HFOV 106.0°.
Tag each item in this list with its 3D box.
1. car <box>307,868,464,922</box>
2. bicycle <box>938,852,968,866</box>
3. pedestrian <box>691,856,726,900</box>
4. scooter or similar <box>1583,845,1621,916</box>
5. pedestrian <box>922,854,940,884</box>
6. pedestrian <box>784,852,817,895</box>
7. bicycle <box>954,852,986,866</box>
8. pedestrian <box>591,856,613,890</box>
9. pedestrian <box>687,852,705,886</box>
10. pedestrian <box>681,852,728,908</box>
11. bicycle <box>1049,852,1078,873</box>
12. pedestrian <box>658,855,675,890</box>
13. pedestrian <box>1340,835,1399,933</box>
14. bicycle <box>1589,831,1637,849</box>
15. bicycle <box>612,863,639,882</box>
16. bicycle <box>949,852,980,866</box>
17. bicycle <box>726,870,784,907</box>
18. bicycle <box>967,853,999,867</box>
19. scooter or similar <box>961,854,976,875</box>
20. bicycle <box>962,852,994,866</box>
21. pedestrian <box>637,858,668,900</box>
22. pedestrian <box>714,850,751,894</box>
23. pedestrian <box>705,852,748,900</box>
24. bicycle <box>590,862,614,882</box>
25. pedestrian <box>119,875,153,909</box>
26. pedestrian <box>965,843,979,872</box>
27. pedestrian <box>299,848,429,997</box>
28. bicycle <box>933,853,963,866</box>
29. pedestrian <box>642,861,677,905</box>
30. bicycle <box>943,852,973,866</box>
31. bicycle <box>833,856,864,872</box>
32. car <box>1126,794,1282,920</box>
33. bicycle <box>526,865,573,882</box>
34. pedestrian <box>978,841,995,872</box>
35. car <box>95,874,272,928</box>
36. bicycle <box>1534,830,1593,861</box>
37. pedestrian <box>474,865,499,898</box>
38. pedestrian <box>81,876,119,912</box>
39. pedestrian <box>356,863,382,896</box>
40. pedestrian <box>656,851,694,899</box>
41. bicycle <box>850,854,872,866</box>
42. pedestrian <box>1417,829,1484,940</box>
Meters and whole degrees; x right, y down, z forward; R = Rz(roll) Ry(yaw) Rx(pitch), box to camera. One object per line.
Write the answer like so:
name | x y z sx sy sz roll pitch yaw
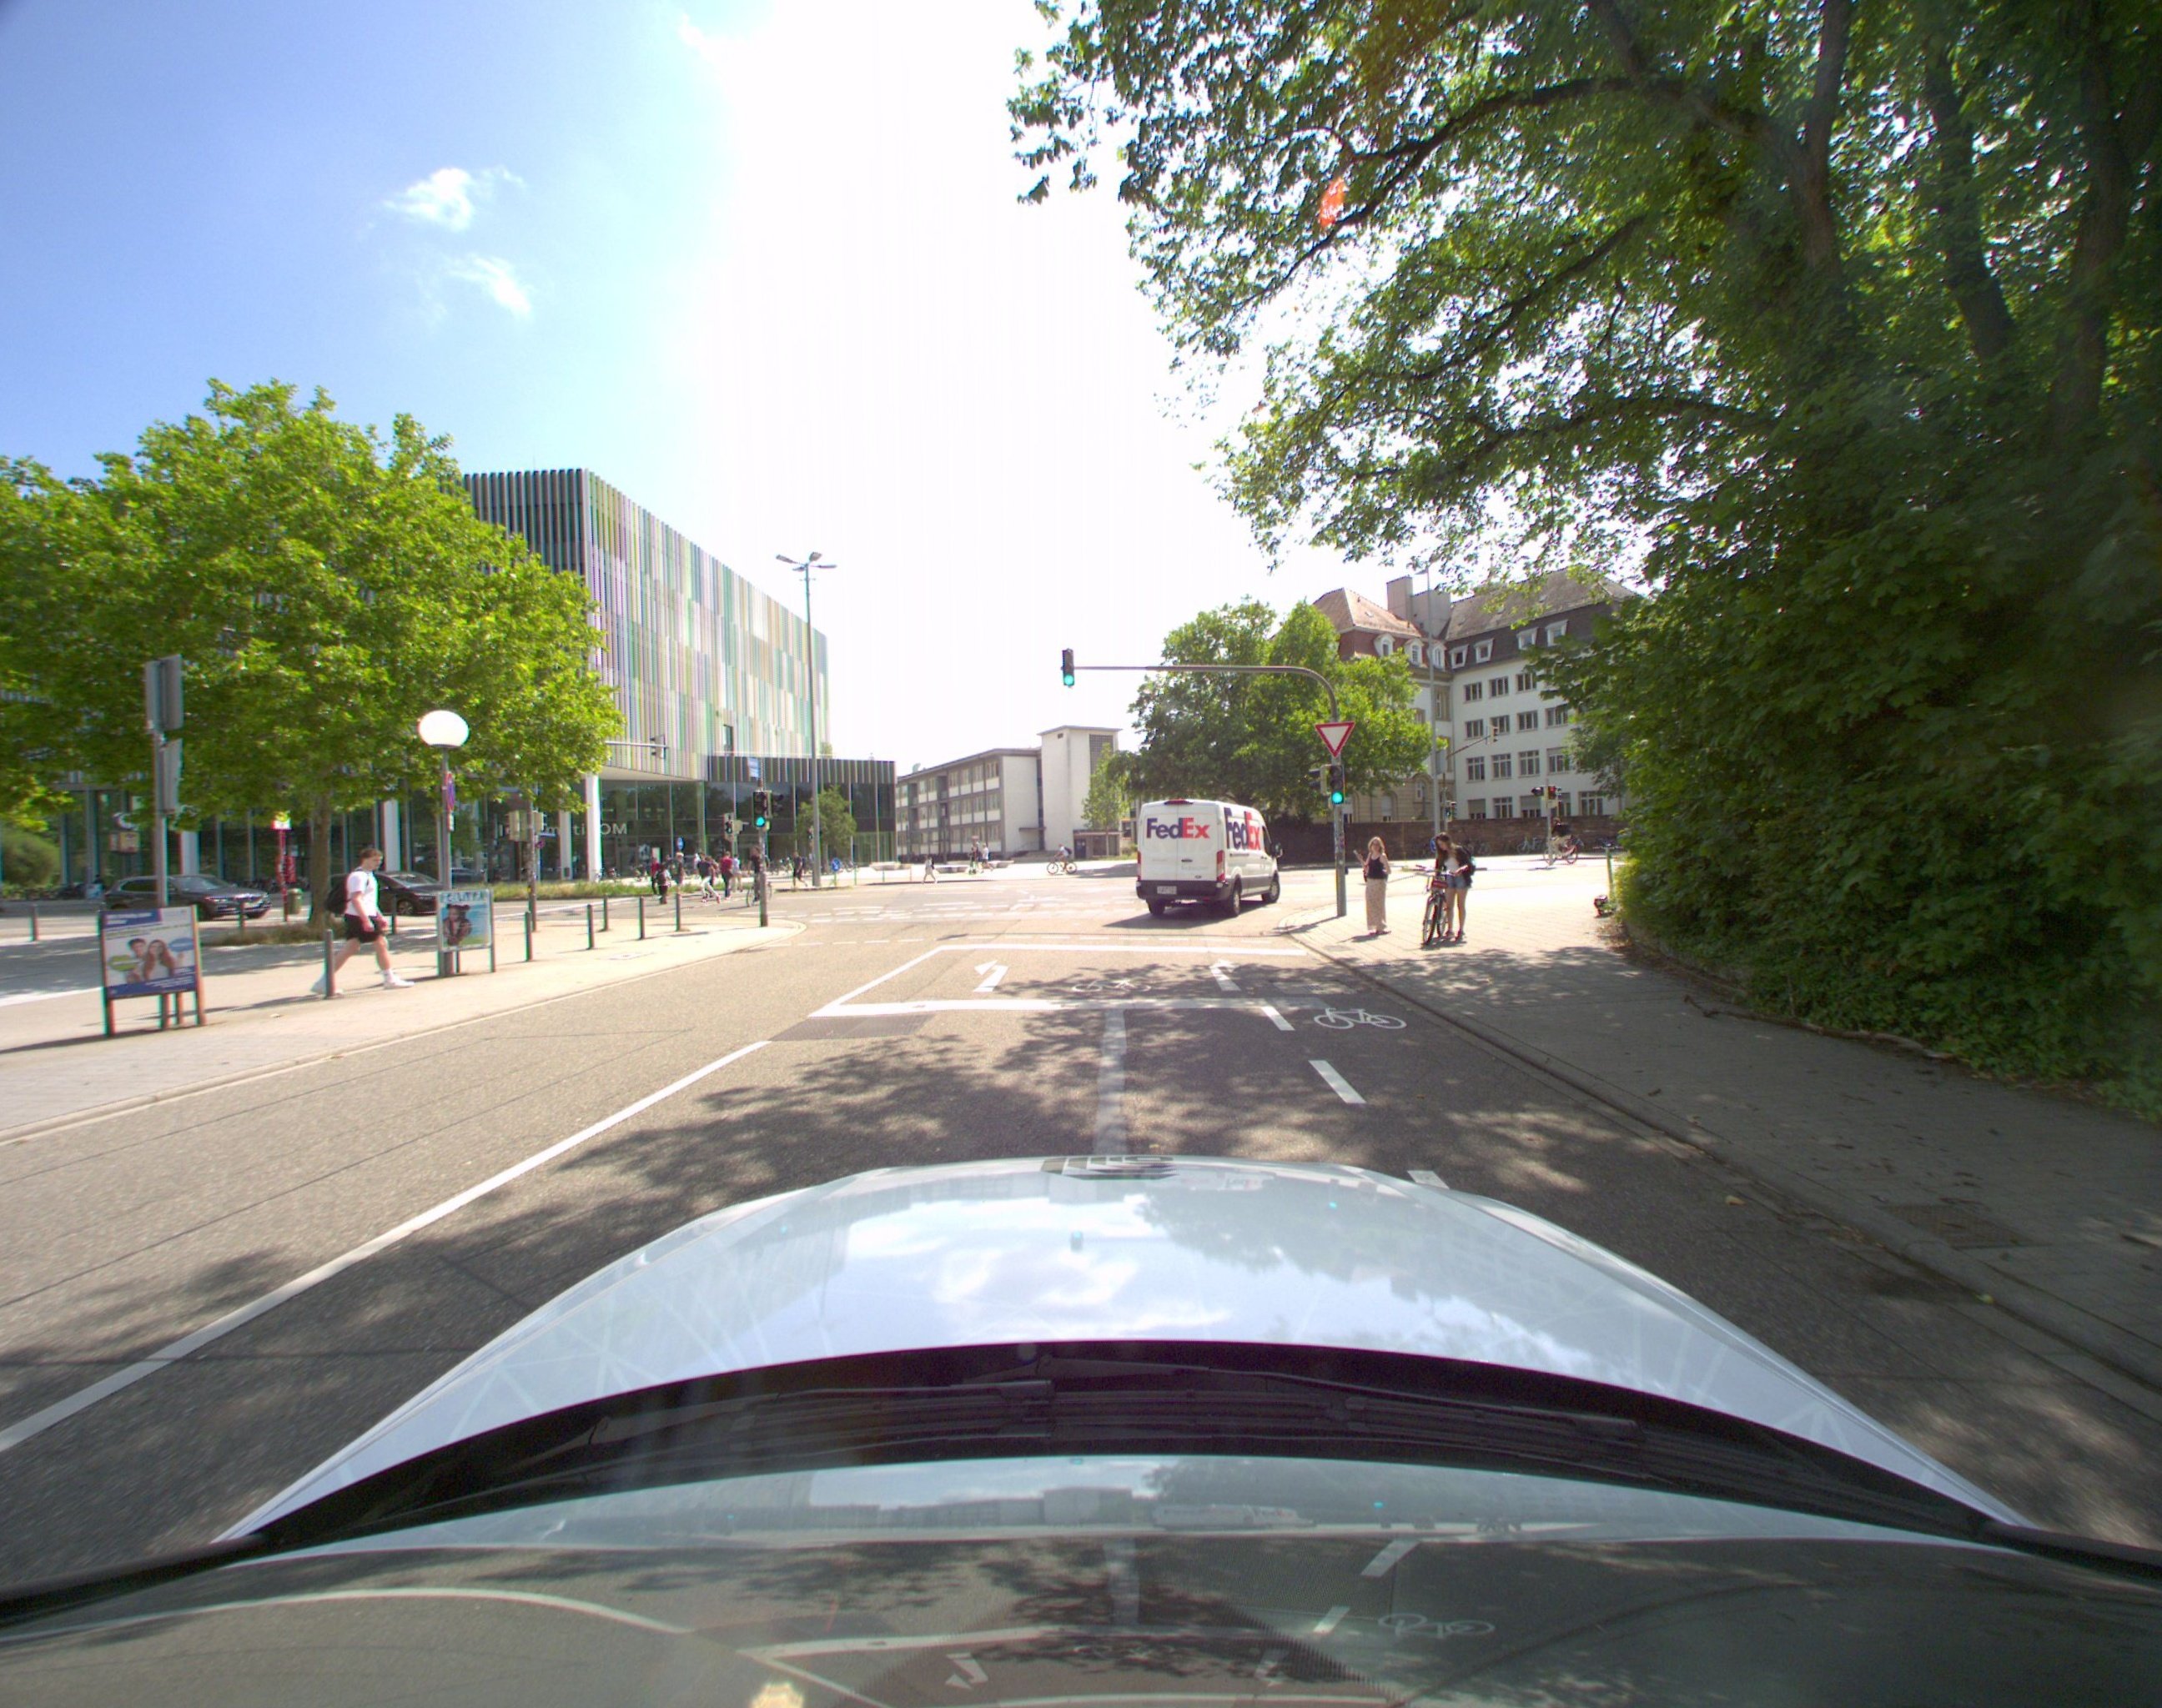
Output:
car | -25.028 1.467 29.373 4.263 1.661 1.655 -2 1 3
bicycle | -13.668 0.531 86.825 2.978 1.363 1.105 -1 0 -35
pedestrian | -14.861 0.949 32.486 0.818 1.654 0.866 -2 1 20
scooter or similar | 9.011 0.441 14.073 0.283 1.146 1.185 -2 0 45
pedestrian | -7.879 0.768 42.686 0.827 1.523 0.810 -2 0 -17
pedestrian | -12.748 0.868 36.998 0.822 1.870 1.091 -2 0 26
bicycle | -11.377 0.516 83.496 2.978 1.363 1.262 -1 0 -35
pedestrian | -36.625 1.430 62.304 0.969 2.565 1.015 -1 0 3
pedestrian | -29.578 1.158 62.560 0.981 2.565 1.003 -1 0 -40
pedestrian | -13.197 0.894 28.570 0.698 1.855 1.404 -2 2 12
bicycle | -1.023 0.487 47.461 0.840 1.145 2.007 -2 0 26
pedestrian | -31.485 1.396 61.874 0.979 2.565 1.004 -1 0 -33
pedestrian | 4.892 0.495 13.849 0.727 1.575 0.777 -3 0 7
bicycle | 32.060 -0.862 49.112 2.374 0.994 0.754 -2 0 -1
bicycle | -31.270 1.231 55.848 1.383 1.237 2.920 -1 0 -34
bicycle | -12.099 0.500 84.541 2.978 1.363 1.105 -1 0 -35
bicycle | -11.029 1.163 27.628 0.765 1.122 2.033 -2 0 13
bicycle | -9.712 0.585 81.064 2.978 1.363 1.105 -1 0 -35
scooter or similar | -6.737 0.621 48.598 0.717 1.178 2.715 -2 1 -11
bicycle | -10.398 0.494 82.192 2.978 1.363 1.105 -1 0 -35
pedestrian | -17.589 1.016 33.447 0.750 1.678 0.756 -2 0 2
pedestrian | -14.990 0.763 35.023 0.853 1.818 1.102 -2 0 26
pedestrian | -13.791 0.837 31.722 0.799 1.807 1.274 -2 0 21
bicycle | -32.413 1.212 55.079 1.206 1.237 2.920 -1 0 -34
pedestrian | -61.794 2.483 53.254 0.969 2.201 1.015 -1 0 3
pedestrian | -6.885 0.225 51.479 0.670 1.815 0.811 -2 0 -17
pedestrian | -9.407 0.854 10.731 1.090 1.851 0.716 -1 0 -25
bicycle | -14.382 0.575 87.908 2.978 1.363 1.105 -1 0 -35
pedestrian | -15.621 1.068 30.212 0.767 1.597 0.799 -2 0 4
bicycle | -12.934 0.512 85.738 2.978 1.363 1.105 -1 0 -35
bicycle | -18.556 0.830 64.895 1.208 1.237 2.915 -1 0 -43
car | 3.163 -0.036 19.592 2.076 2.566 5.636 0 2 26
bicycle | -40.080 1.479 61.419 2.905 1.237 1.018 -1 0 2
pedestrian | -5.933 0.148 51.145 0.866 1.889 0.908 -2 0 -15
car | -32.894 1.703 29.916 4.788 1.661 1.654 -2 0 3
bicycle | 19.645 -0.323 33.194 0.684 1.185 1.968 -2 0 -32
pedestrian | -43.164 1.957 59.126 0.969 2.345 1.015 -1 0 3
pedestrian | -61.934 2.509 51.422 0.968 2.176 1.129 -1 0 3
pedestrian | -50.827 1.825 58.147 0.969 2.345 0.891 -1 0 2
pedestrian | -16.496 0.857 33.098 0.845 1.876 1.012 -2 0 22
bicycle | -30.565 0.864 113.375 1.104 1.574 2.984 -1 0 30
pedestrian | 5.541 0.449 12.204 0.717 1.575 0.738 -5 -1 31
